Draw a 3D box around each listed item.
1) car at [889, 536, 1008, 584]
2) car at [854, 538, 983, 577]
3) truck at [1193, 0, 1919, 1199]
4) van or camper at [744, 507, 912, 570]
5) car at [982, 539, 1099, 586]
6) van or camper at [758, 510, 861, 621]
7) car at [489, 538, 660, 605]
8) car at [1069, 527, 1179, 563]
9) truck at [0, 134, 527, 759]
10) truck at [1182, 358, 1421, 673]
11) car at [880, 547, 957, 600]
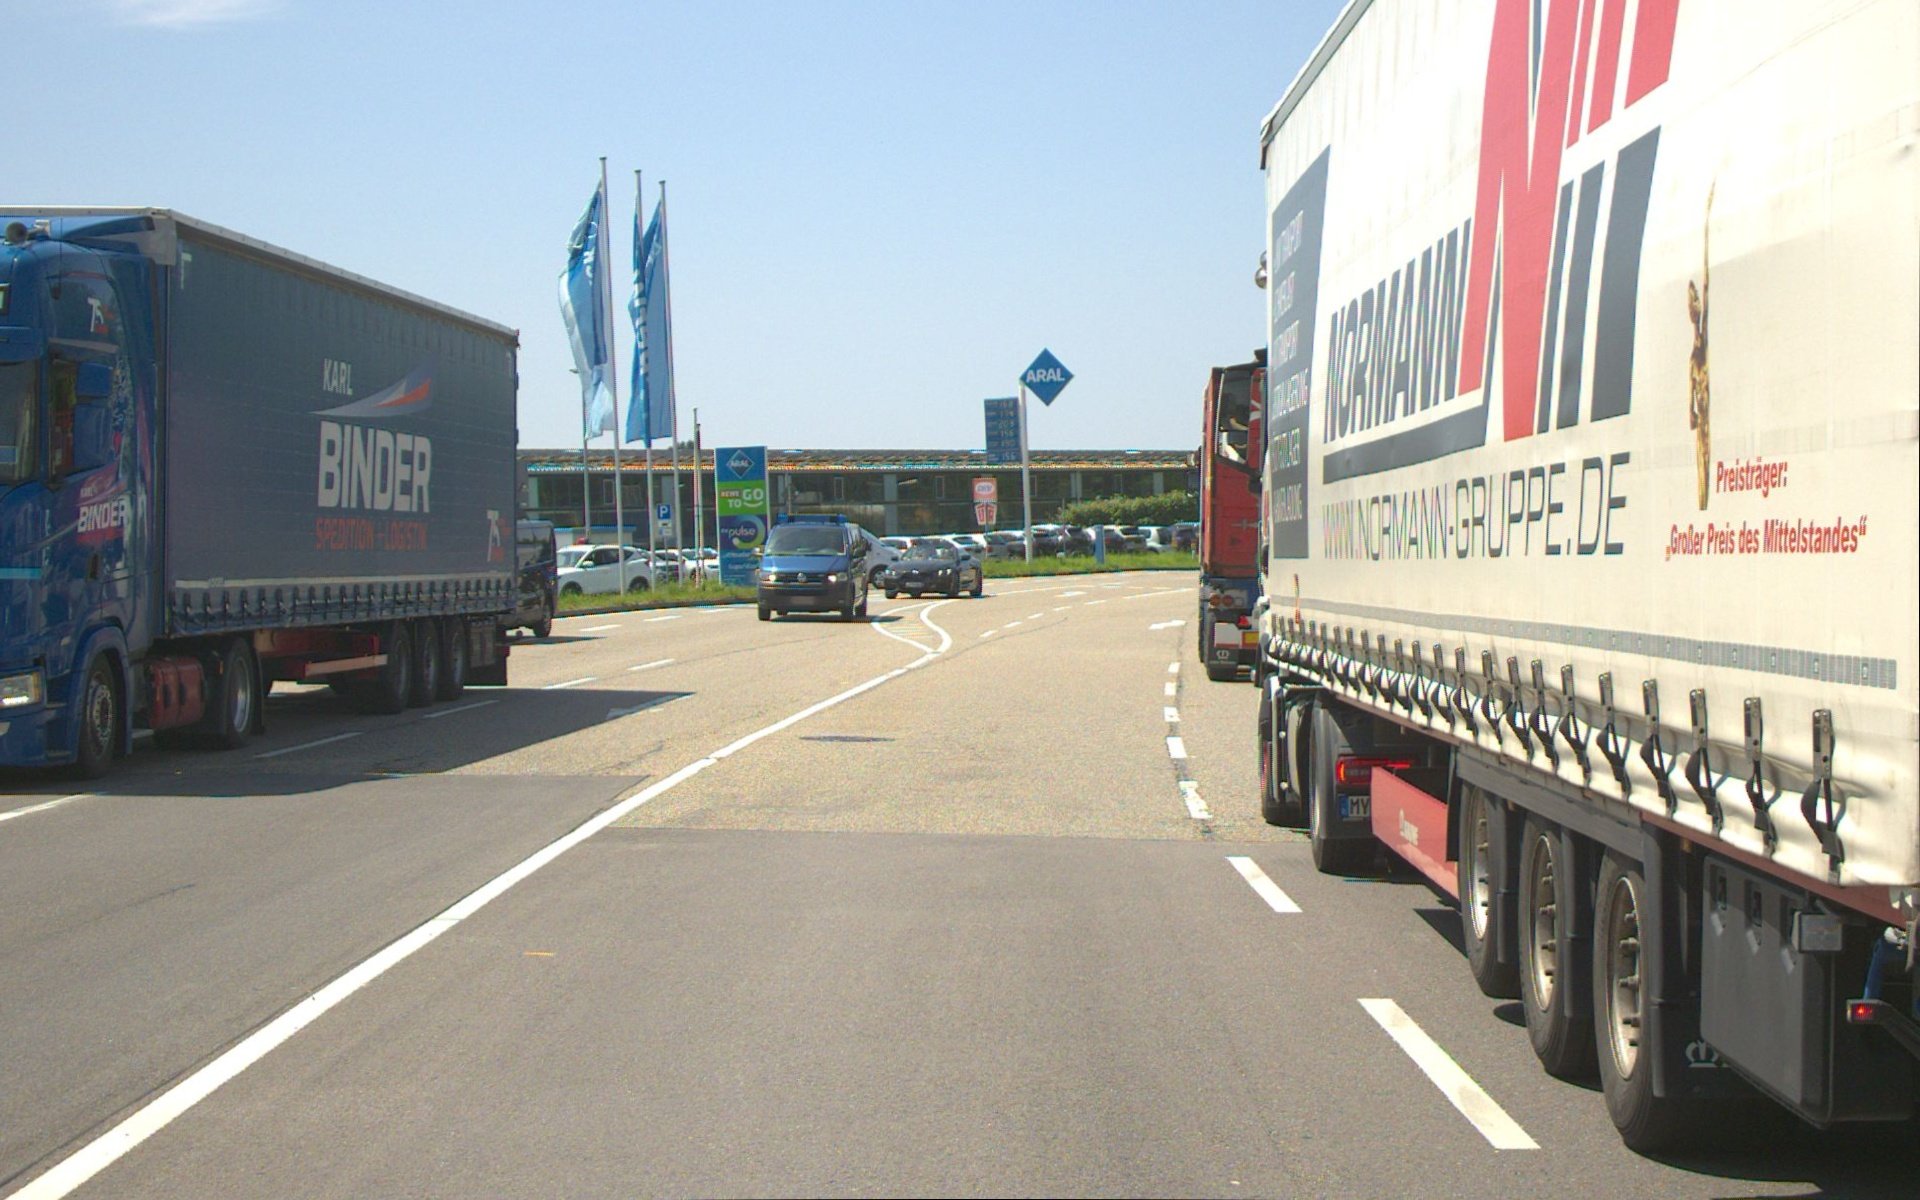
[{"bbox_3d":[-0.413,-1.478,127.278,3.994,1.744,1.931,0,1,33],"label":"car"},{"bbox_3d":[-1.518,-1.545,124.265,4.244,1.354,1.996,0,1,32],"label":"car"},{"bbox_3d":[2.940,-0.723,14.331,2.973,4.080,17.635,0,1,1],"label":"truck"},{"bbox_3d":[-4.002,-1.862,104.410,4.849,1.898,1.904,0,0,7],"label":"van or camper"},{"bbox_3d":[3.062,-1.425,131.207,3.994,1.744,1.996,0,0,33],"label":"car"},{"bbox_3d":[-2.978,-0.715,69.008,1.836,2.130,5.343,0,1,0],"label":"van or camper"},{"bbox_3d":[-10.055,-0.744,89.927,1.867,1.706,4.509,0,0,38],"label":"car"},{"bbox_3d":[6.599,-2.222,138.652,3.994,1.313,1.830,-1,1,31],"label":"car"},{"bbox_3d":[-6.757,-1.005,29.885,2.844,3.876,17.003,0,0,3],"label":"truck"},{"bbox_3d":[4.584,-1.132,48.485,2.648,3.793,13.359,-1,1,3],"label":"truck"},{"bbox_3d":[-1.011,-0.686,85.716,1.848,1.267,4.177,-1,1,0],"label":"car"}]
